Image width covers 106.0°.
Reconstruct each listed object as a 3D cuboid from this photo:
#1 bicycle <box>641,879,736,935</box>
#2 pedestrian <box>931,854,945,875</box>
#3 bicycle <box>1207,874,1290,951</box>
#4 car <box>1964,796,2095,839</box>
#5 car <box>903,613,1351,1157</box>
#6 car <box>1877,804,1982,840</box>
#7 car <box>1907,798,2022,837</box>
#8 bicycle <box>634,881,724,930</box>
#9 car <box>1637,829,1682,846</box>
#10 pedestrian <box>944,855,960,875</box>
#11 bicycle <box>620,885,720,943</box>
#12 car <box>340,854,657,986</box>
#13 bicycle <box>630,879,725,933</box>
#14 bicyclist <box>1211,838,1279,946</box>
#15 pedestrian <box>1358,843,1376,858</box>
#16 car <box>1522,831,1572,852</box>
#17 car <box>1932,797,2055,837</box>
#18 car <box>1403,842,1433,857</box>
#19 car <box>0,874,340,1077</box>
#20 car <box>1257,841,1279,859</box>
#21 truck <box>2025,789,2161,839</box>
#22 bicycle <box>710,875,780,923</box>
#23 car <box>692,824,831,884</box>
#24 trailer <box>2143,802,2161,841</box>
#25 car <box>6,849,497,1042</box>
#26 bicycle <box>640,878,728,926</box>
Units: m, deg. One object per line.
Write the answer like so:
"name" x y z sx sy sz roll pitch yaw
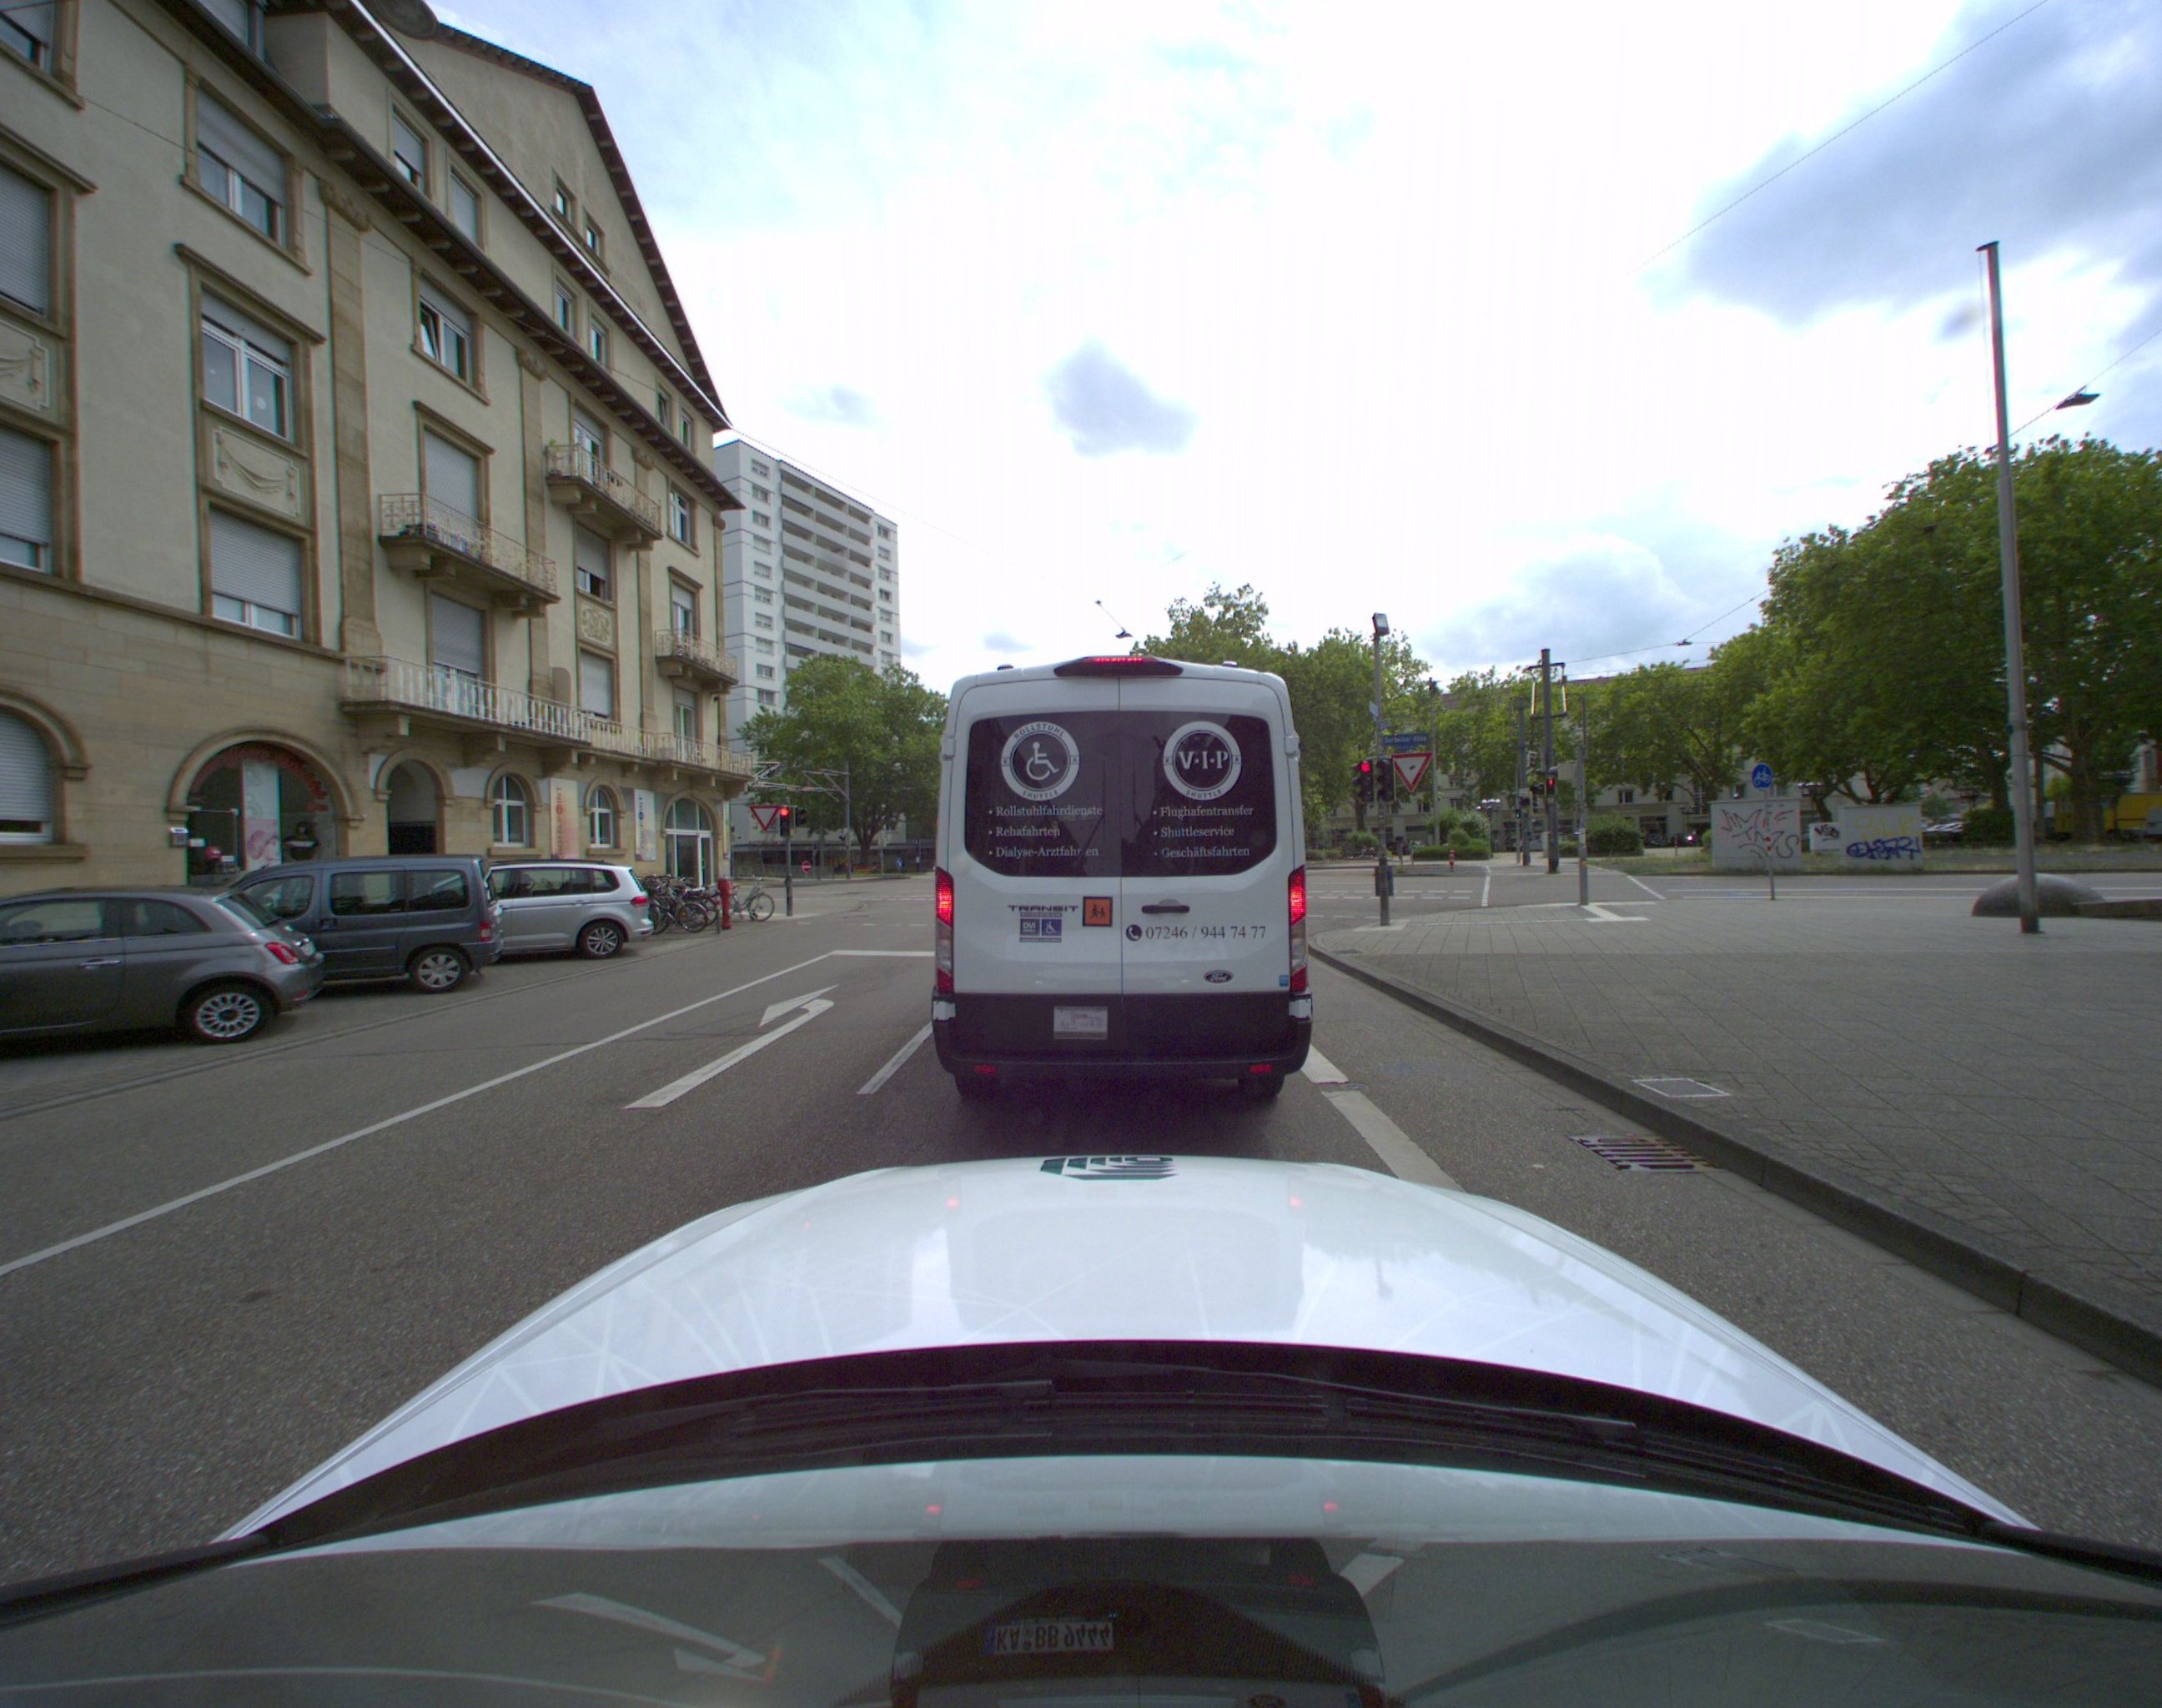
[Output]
"bicycle" -8.548 1.144 17.764 1.800 1.120 0.595 2 0 5
"pedestrian" -11.209 0.829 63.875 0.801 1.572 0.727 -2 0 16
"bicycle" 2.671 0.902 13.260 0.900 1.075 1.969 -2 0 -1
"car" 63.794 -2.410 54.901 5.271 2.585 2.192 -2 -1 24
"car" 0.254 0.116 6.283 2.174 2.647 4.629 0 1 0
"car" 68.903 -2.542 66.252 5.271 2.585 2.512 -2 -1 24
"car" 66.658 -2.682 61.599 5.271 2.585 2.512 -2 -1 24
"bicycle" -9.458 1.195 19.205 1.807 1.120 0.593 0 0 -6
"car" 55.940 -1.593 78.818 1.757 1.503 4.008 -2 0 7
"pedestrian" -10.078 0.834 63.722 0.922 1.514 0.727 -2 0 16
"bicycle" -8.618 1.252 17.094 1.799 1.120 0.595 -2 0 8
"car" -9.490 0.959 13.565 4.031 1.773 1.776 -2 0 -37
"bicycle" -9.152 1.169 18.517 1.807 1.166 0.593 0 0 -6
"bicyclist" 2.666 0.607 13.299 0.901 1.683 0.756 -2 0 -1
"pedestrian" 24.688 -0.316 70.238 1.086 1.236 1.443 -4 -1 6
"car" 44.456 -1.173 77.813 3.950 1.883 1.868 -2 0 26
"car" 65.715 -2.616 58.782 5.271 2.585 2.512 -2 -1 24
"car" 36.247 -0.478 87.753 1.983 1.503 4.008 -2 0 7
"car" -9.848 1.104 7.681 4.031 1.651 1.776 -2 0 -37
"car" 21.643 -0.468 94.525 1.983 1.930 4.008 -2 0 7
"truck" 58.277 -2.204 46.662 3.042 2.577 6.549 -2 0 25
"bicycle" -8.642 1.131 20.933 1.859 1.167 0.500 0 0 22
"car" -22.873 0.023 58.155 9.793 3.915 3.476 -2 0 26
"trailer" 55.489 -1.664 39.538 4.381 1.925 1.865 -2 0 26
"car" -9.883 0.938 10.256 4.031 1.878 1.776 -2 0 -37
"bicycle" -9.643 1.158 19.839 1.807 1.120 0.593 0 0 -6
